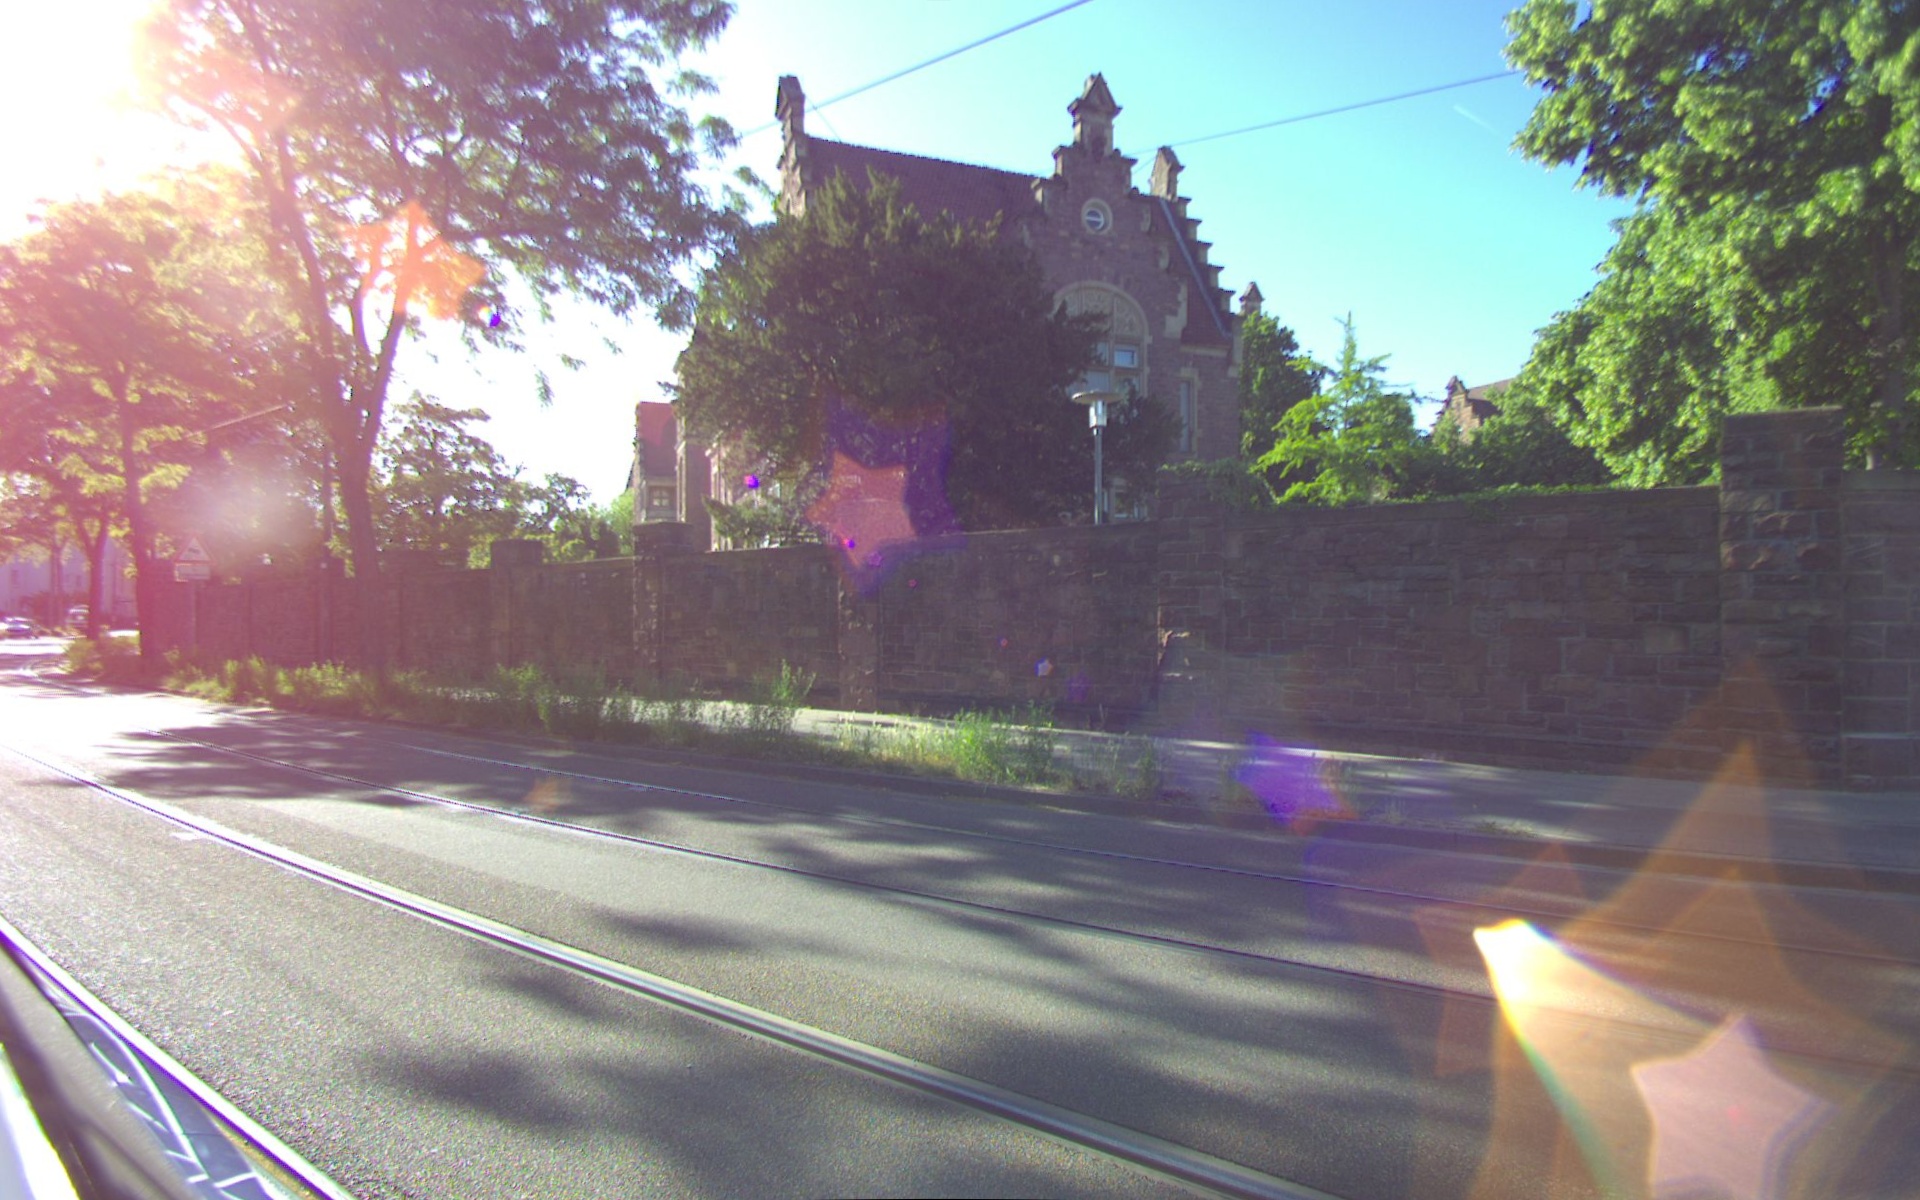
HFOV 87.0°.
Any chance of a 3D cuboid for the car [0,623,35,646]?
[{"bbox_3d":[-68.900,2.499,73.834,1.969,1.560,4.005,0,-1,-41],"label":"car"}]
